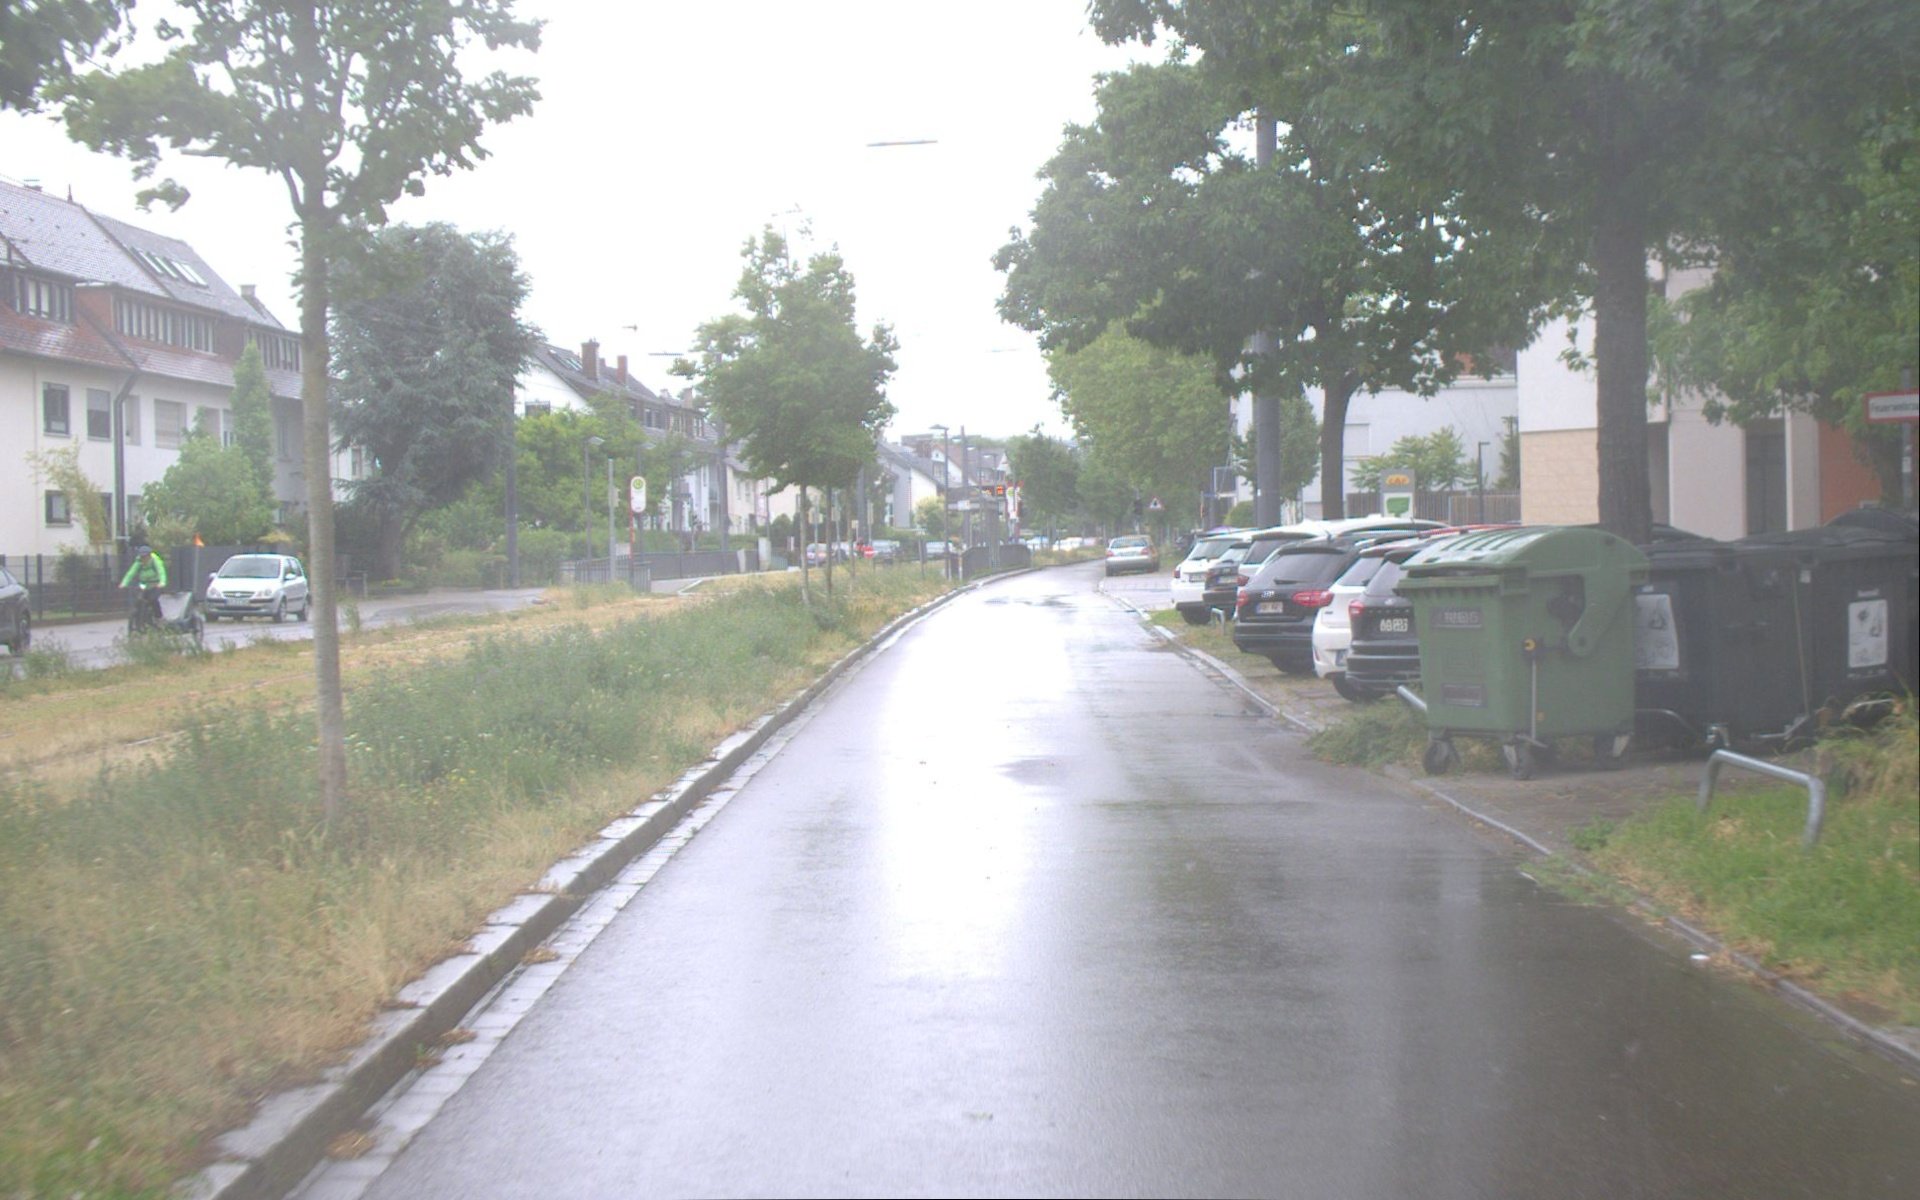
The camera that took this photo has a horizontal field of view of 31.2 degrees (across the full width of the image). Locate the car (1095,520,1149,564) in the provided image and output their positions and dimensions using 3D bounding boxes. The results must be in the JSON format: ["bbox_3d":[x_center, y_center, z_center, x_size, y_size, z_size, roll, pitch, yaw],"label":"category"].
[{"bbox_3d":[6.009,-2.160,127.843,1.833,1.580,4.000,-2,1,1],"label":"car"}]

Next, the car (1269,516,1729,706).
[{"bbox_3d":[4.851,0.061,30.734,4.028,1.514,1.585,-2,1,-34],"label":"car"}]

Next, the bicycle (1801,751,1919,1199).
[{"bbox_3d":[2.180,0.873,5.728,0.809,1.093,2.517,-2,1,-2],"label":"bicycle"}]

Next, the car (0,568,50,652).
[{"bbox_3d":[-15.649,0.158,52.745,1.897,1.240,4.687,1,1,3],"label":"car"}]

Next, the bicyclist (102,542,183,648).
[{"bbox_3d":[-13.355,-0.089,56.193,1.018,1.679,1.092,-2,1,0],"label":"bicyclist"}]

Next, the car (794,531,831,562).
[{"bbox_3d":[-8.297,-3.018,193.762,1.843,1.666,4.000,-2,1,1],"label":"car"}]

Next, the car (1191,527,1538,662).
[{"bbox_3d":[4.792,-0.089,40.517,4.028,1.438,1.585,-2,1,-36],"label":"car"}]

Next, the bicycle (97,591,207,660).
[{"bbox_3d":[-13.325,0.409,56.793,1.018,1.024,3.197,-2,1,0],"label":"bicycle"}]

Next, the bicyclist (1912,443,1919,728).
[{"bbox_3d":[2.162,0.428,5.677,0.809,1.428,1.060,-2,1,-3],"label":"bicyclist"}]

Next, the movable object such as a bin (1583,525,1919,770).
[{"bbox_3d":[4.920,0.260,20.886,1.681,1.321,1.401,-4,2,-21],"label":"movable object such as a bin"}]

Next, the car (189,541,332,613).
[{"bbox_3d":[-15.105,-0.527,74.441,1.897,1.464,4.687,1,1,3],"label":"car"}]

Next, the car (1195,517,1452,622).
[{"bbox_3d":[5.824,-0.494,54.885,4.028,1.535,1.585,-2,1,-36],"label":"car"}]

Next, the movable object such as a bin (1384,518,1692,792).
[{"bbox_3d":[3.443,0.307,20.586,1.125,1.452,1.401,-8,3,-20],"label":"movable object such as a bin"}]

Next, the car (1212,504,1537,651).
[{"bbox_3d":[5.239,-0.307,43.224,4.028,1.697,1.585,-2,1,-36],"label":"car"}]

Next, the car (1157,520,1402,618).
[{"bbox_3d":[5.382,-0.533,57.776,4.028,1.508,1.585,-2,1,-36],"label":"car"}]

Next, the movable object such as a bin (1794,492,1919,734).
[{"bbox_3d":[6.331,0.056,22.478,1.243,1.515,1.089,-3,1,-27],"label":"movable object such as a bin"}]

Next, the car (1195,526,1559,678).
[{"bbox_3d":[4.452,-0.004,36.372,4.030,1.438,1.584,-3,2,-43],"label":"car"}]

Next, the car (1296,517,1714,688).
[{"bbox_3d":[5.397,-0.007,33.867,4.028,1.514,1.585,-2,1,-34],"label":"car"}]

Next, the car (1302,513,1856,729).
[{"bbox_3d":[4.987,0.124,27.505,4.214,1.514,1.877,-2,1,-34],"label":"car"}]
